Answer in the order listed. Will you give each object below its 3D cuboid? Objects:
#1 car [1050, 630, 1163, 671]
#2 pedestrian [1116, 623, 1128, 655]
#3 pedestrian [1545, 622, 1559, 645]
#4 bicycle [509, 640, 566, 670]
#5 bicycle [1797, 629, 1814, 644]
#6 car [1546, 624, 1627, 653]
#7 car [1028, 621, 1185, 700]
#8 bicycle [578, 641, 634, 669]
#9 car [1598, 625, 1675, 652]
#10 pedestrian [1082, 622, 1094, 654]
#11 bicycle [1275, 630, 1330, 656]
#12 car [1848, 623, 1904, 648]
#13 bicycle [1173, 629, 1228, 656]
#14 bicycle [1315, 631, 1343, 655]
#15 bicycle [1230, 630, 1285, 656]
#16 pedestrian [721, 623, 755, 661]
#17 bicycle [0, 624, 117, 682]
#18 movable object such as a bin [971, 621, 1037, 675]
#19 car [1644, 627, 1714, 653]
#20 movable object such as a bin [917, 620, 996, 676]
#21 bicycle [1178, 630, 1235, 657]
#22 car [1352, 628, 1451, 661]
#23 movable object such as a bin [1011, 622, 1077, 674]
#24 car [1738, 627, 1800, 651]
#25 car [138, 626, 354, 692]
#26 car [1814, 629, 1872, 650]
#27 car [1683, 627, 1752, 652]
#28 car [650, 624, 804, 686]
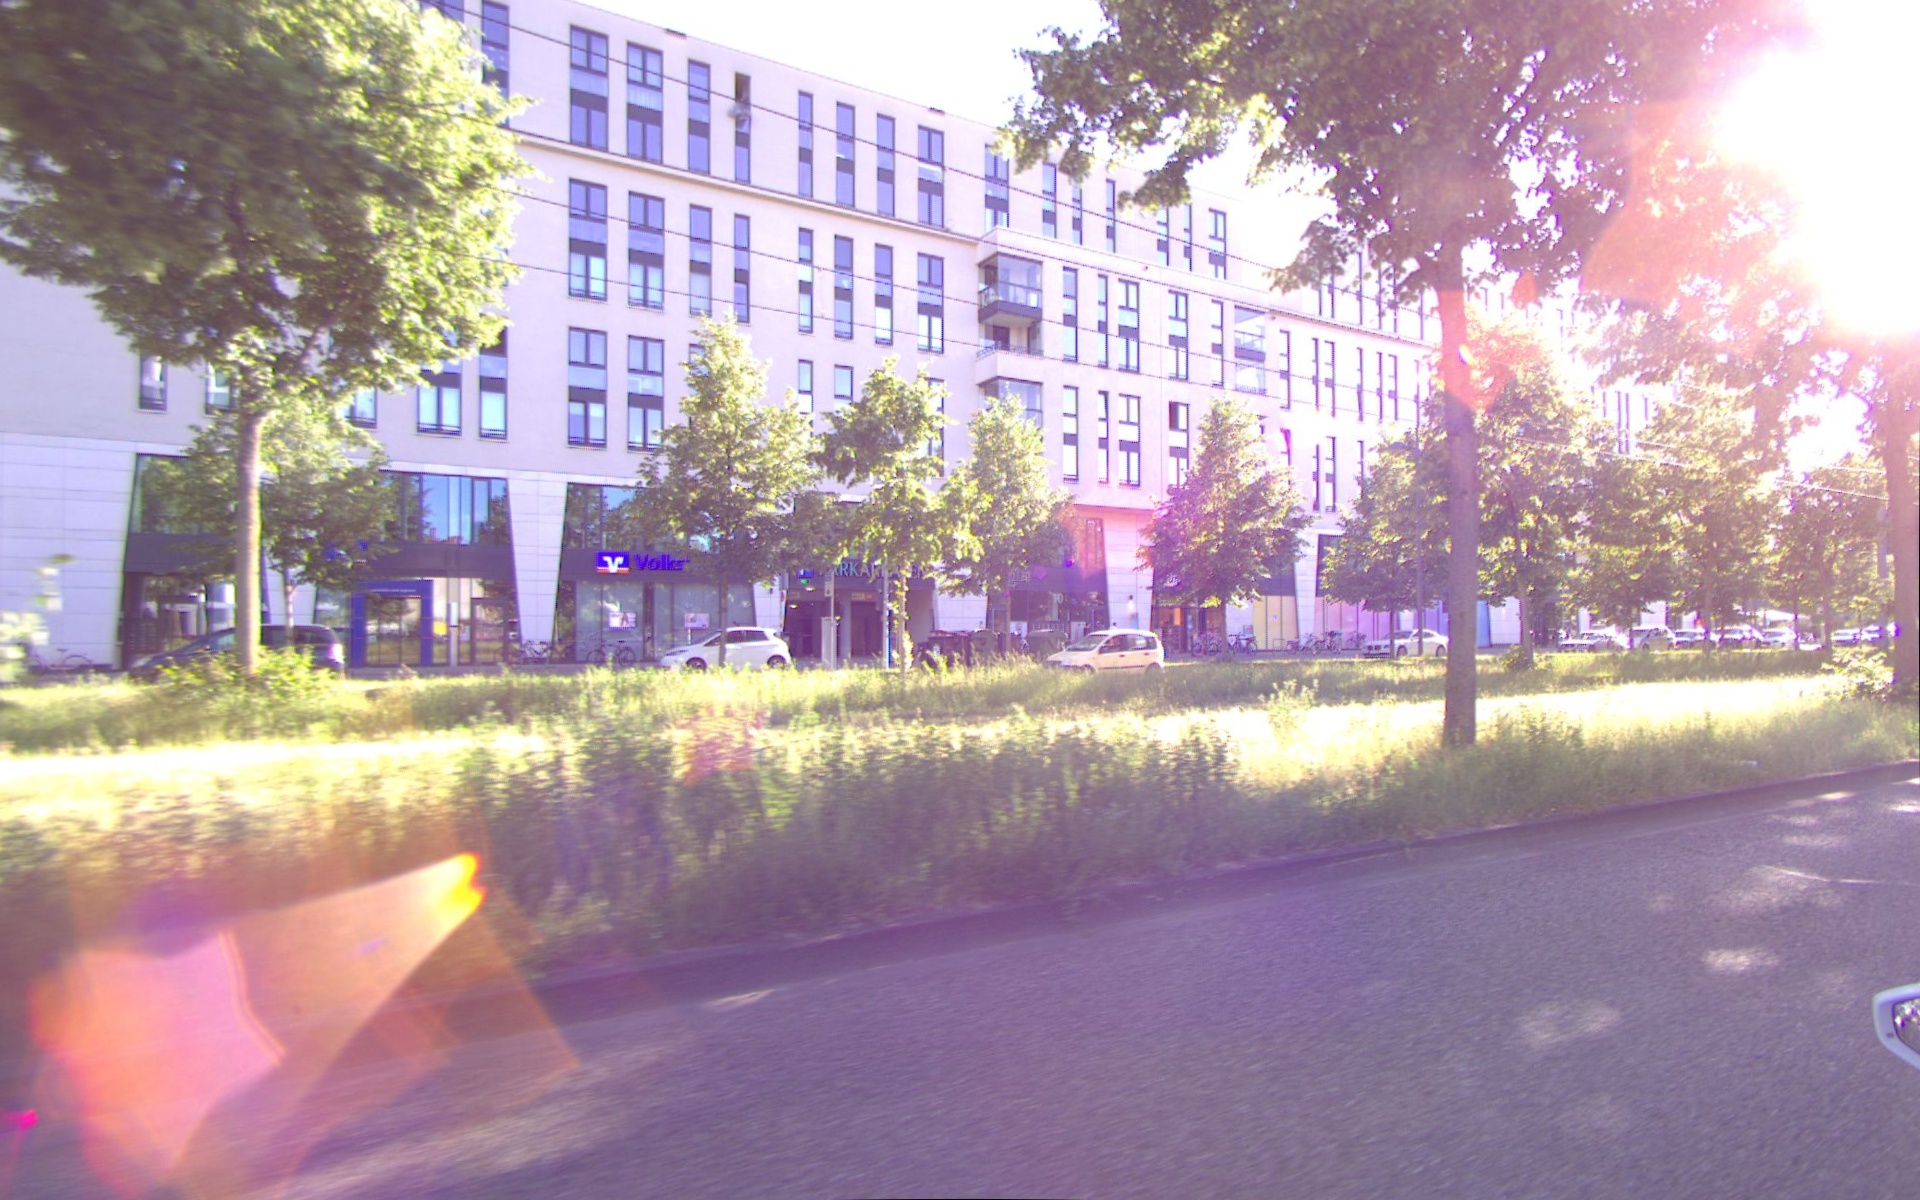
[{"bbox_3d":[5.687,1.927,38.871,3.975,1.460,1.982,1,0,-32],"label":"car"},{"bbox_3d":[7.909,1.896,49.028,0.511,1.570,0.502,1,0,12],"label":"pedestrian"},{"bbox_3d":[42.681,2.426,72.431,0.713,1.673,0.631,1,0,-37],"label":"pedestrian"},{"bbox_3d":[-14.786,1.919,35.174,1.823,1.002,0.616,1,0,-25],"label":"bicycle"},{"bbox_3d":[72.987,3.163,86.700,1.818,1.269,0.585,1,0,-30],"label":"bicycle"},{"bbox_3d":[35.170,2.149,56.347,4.727,1.460,1.982,1,0,-32],"label":"car"},{"bbox_3d":[4.156,1.680,28.478,3.949,2.040,1.986,1,0,-27],"label":"car"},{"bbox_3d":[-12.771,1.996,36.254,1.825,0.966,0.577,1,0,-28],"label":"bicycle"},{"bbox_3d":[39.506,2.229,58.627,4.404,1.460,1.984,1,0,-30],"label":"car"},{"bbox_3d":[6.299,1.858,49.568,0.511,1.570,0.502,1,0,12],"label":"pedestrian"},{"bbox_3d":[18.690,2.344,54.833,2.723,1.298,0.948,1,0,32],"label":"bicycle"},{"bbox_3d":[69.838,2.696,76.593,4.724,1.795,1.982,1,0,-32],"label":"car"},{"bbox_3d":[12.315,2.173,51.423,2.732,1.298,0.945,1,0,-23],"label":"bicycle"},{"bbox_3d":[20.529,2.376,55.804,1.590,1.298,0.594,1,0,-32],"label":"bicycle"},{"bbox_3d":[15.518,2.255,52.342,2.732,1.298,0.945,1,0,-23],"label":"bicycle"},{"bbox_3d":[-8.982,1.688,40.651,1.018,1.487,0.939,1,0,-39],"label":"pedestrian"},{"bbox_3d":[-25.795,1.484,28.334,2.996,1.566,0.615,1,0,-28],"label":"bicycle"},{"bbox_3d":[1.556,1.703,36.080,1.538,1.818,1.960,1,0,-31],"label":"movable object such as a bin"},{"bbox_3d":[44.137,2.429,61.647,4.407,1.460,1.982,1,0,-32],"label":"car"},{"bbox_3d":[-0.136,1.658,34.943,1.988,1.818,1.959,1,0,-32],"label":"movable object such as a bin"},{"bbox_3d":[12.334,2.195,50.216,2.732,1.298,0.945,1,0,-23],"label":"bicycle"},{"bbox_3d":[21.243,2.103,48.252,4.872,1.460,1.982,1,0,-33],"label":"car"},{"bbox_3d":[3.077,1.743,37.008,1.538,1.818,1.960,1,0,-31],"label":"movable object such as a bin"},{"bbox_3d":[54.849,2.630,68.073,4.407,1.460,1.982,1,0,-32],"label":"car"},{"bbox_3d":[-17.517,1.410,24.904,4.225,1.499,1.549,1,-1,-33],"label":"car"},{"bbox_3d":[64.366,2.868,73.214,4.214,1.460,1.949,1,0,-30],"label":"car"},{"bbox_3d":[48.926,2.556,64.835,4.882,1.460,1.982,1,0,-32],"label":"car"},{"bbox_3d":[-7.280,1.680,31.504,4.291,1.752,1.982,1,0,-32],"label":"car"}]
